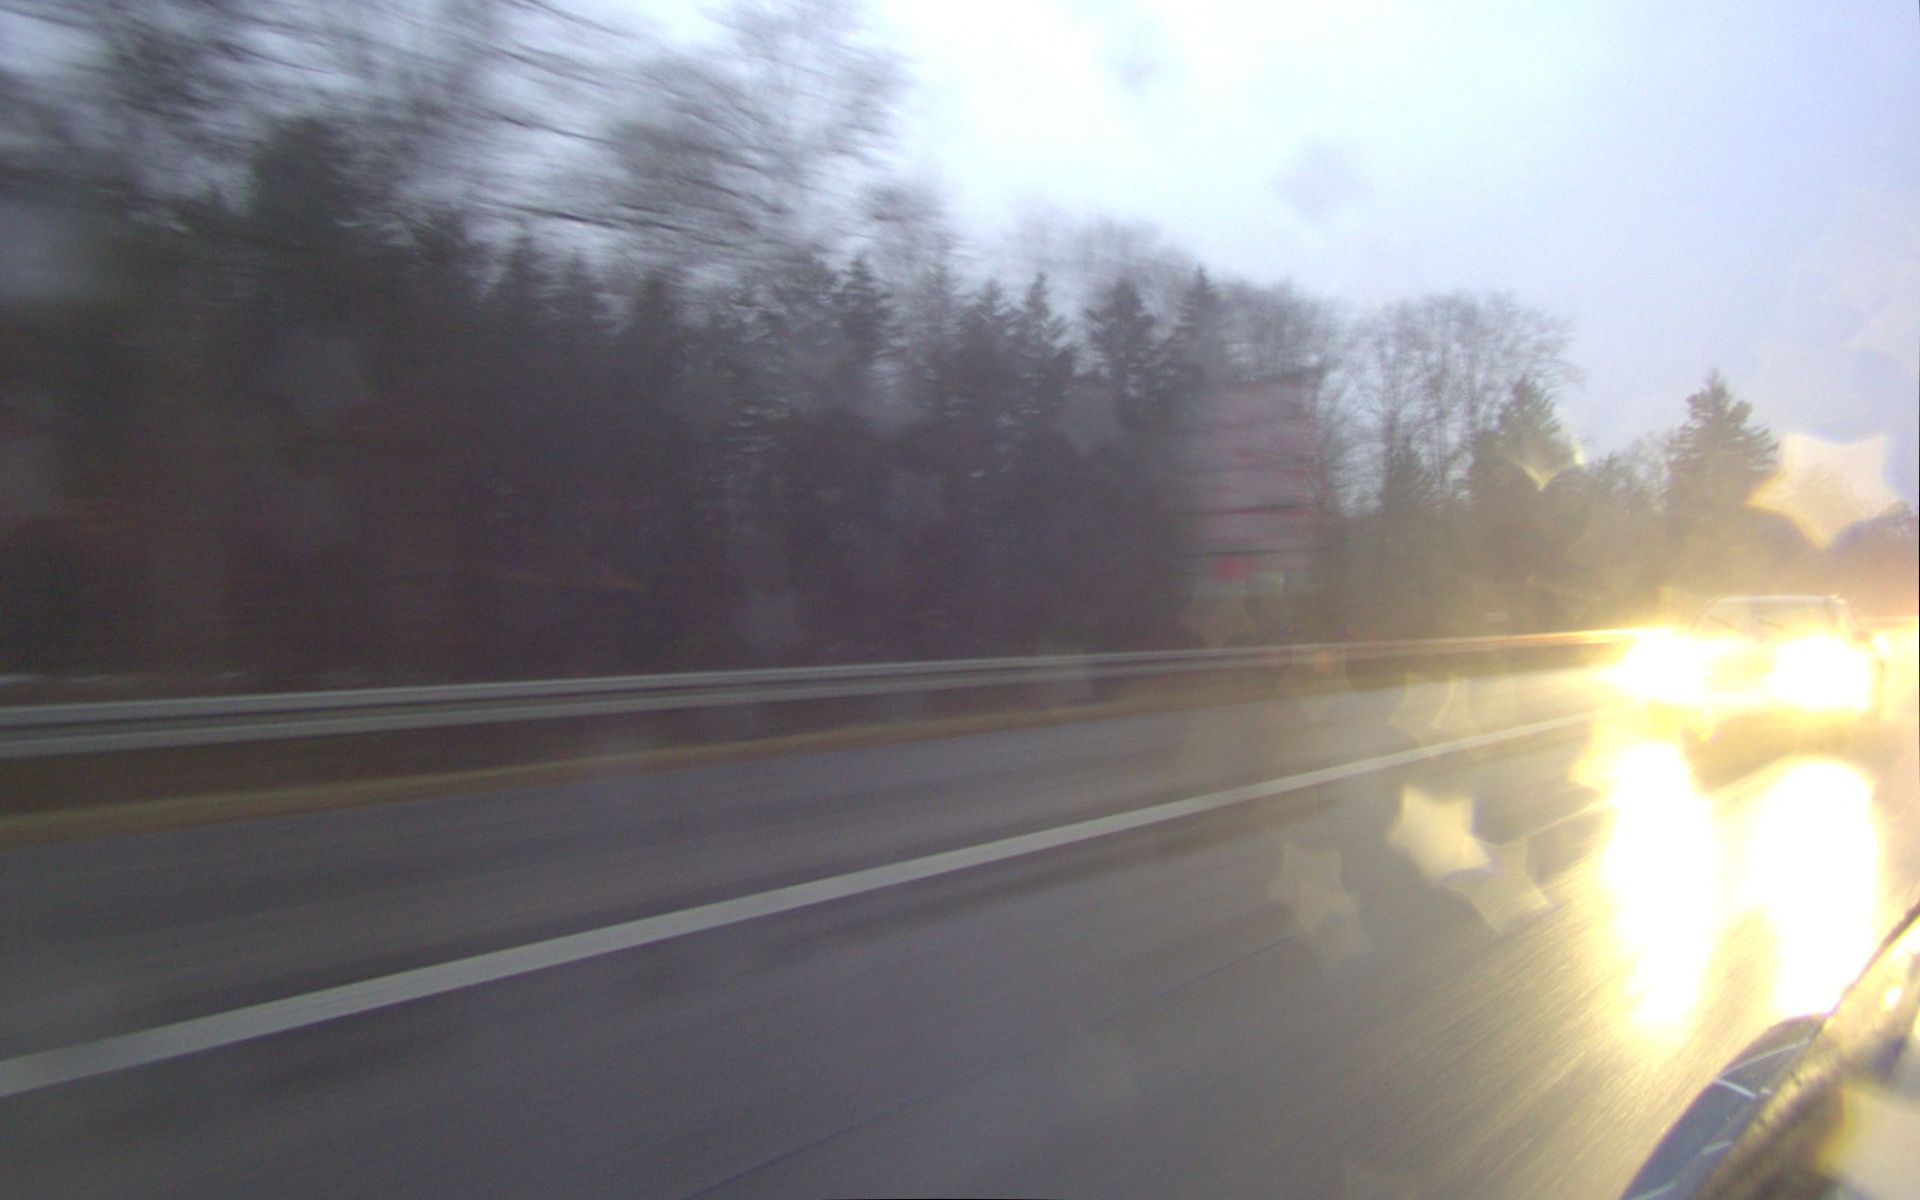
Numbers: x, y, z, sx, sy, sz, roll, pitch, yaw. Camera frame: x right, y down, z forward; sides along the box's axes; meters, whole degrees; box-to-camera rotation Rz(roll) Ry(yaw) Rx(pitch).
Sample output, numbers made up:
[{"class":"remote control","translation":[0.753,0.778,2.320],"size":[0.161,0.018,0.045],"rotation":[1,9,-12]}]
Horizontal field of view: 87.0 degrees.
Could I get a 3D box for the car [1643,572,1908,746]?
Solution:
[{"class":"car","translation":[10.165,0.595,12.527],"size":[3.872,1.814,1.927],"rotation":[0,0,-41]}]
